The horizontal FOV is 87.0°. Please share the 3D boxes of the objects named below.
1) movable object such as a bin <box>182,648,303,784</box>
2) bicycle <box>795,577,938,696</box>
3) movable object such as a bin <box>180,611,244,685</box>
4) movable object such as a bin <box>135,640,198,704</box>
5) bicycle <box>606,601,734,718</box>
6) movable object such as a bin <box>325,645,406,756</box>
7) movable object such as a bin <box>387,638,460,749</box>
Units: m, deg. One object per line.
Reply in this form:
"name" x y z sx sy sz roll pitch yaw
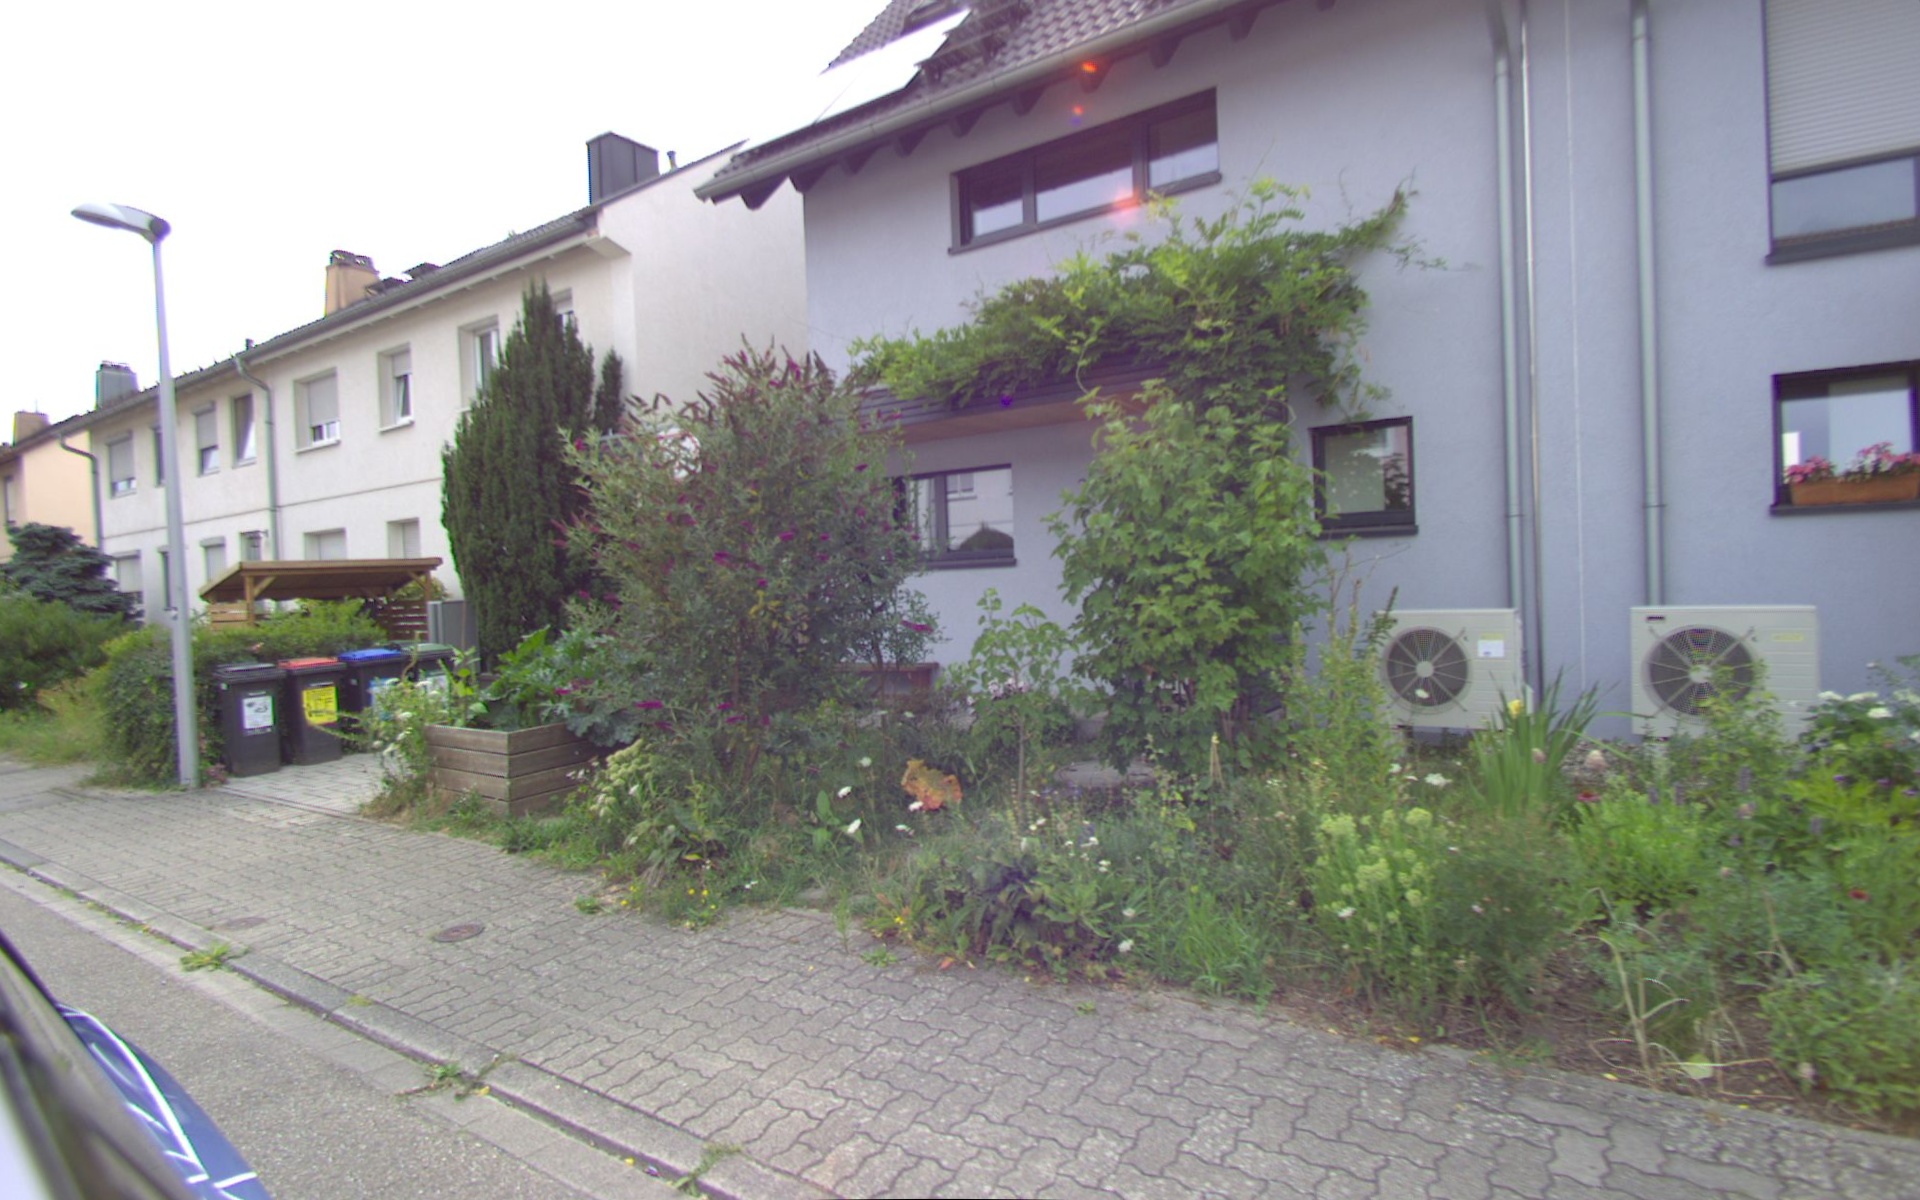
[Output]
"movable object such as a bin" -6.095 0.958 8.598 0.663 1.035 0.597 -2 2 36
"bicycle" -1.112 0.399 12.534 0.489 1.357 2.071 -2 0 36
"movable object such as a bin" -13.265 0.840 17.952 0.733 1.249 0.690 -2 0 35
"movable object such as a bin" -13.388 1.207 17.080 0.597 1.015 0.669 -2 0 35
"bicycle" -3.374 0.653 11.943 0.423 1.158 1.801 -2 3 19
"movable object such as a bin" -5.513 0.915 9.393 0.466 0.963 0.462 -2 1 36
"movable object such as a bin" -5.180 0.887 9.766 0.466 1.011 0.443 -2 0 36
